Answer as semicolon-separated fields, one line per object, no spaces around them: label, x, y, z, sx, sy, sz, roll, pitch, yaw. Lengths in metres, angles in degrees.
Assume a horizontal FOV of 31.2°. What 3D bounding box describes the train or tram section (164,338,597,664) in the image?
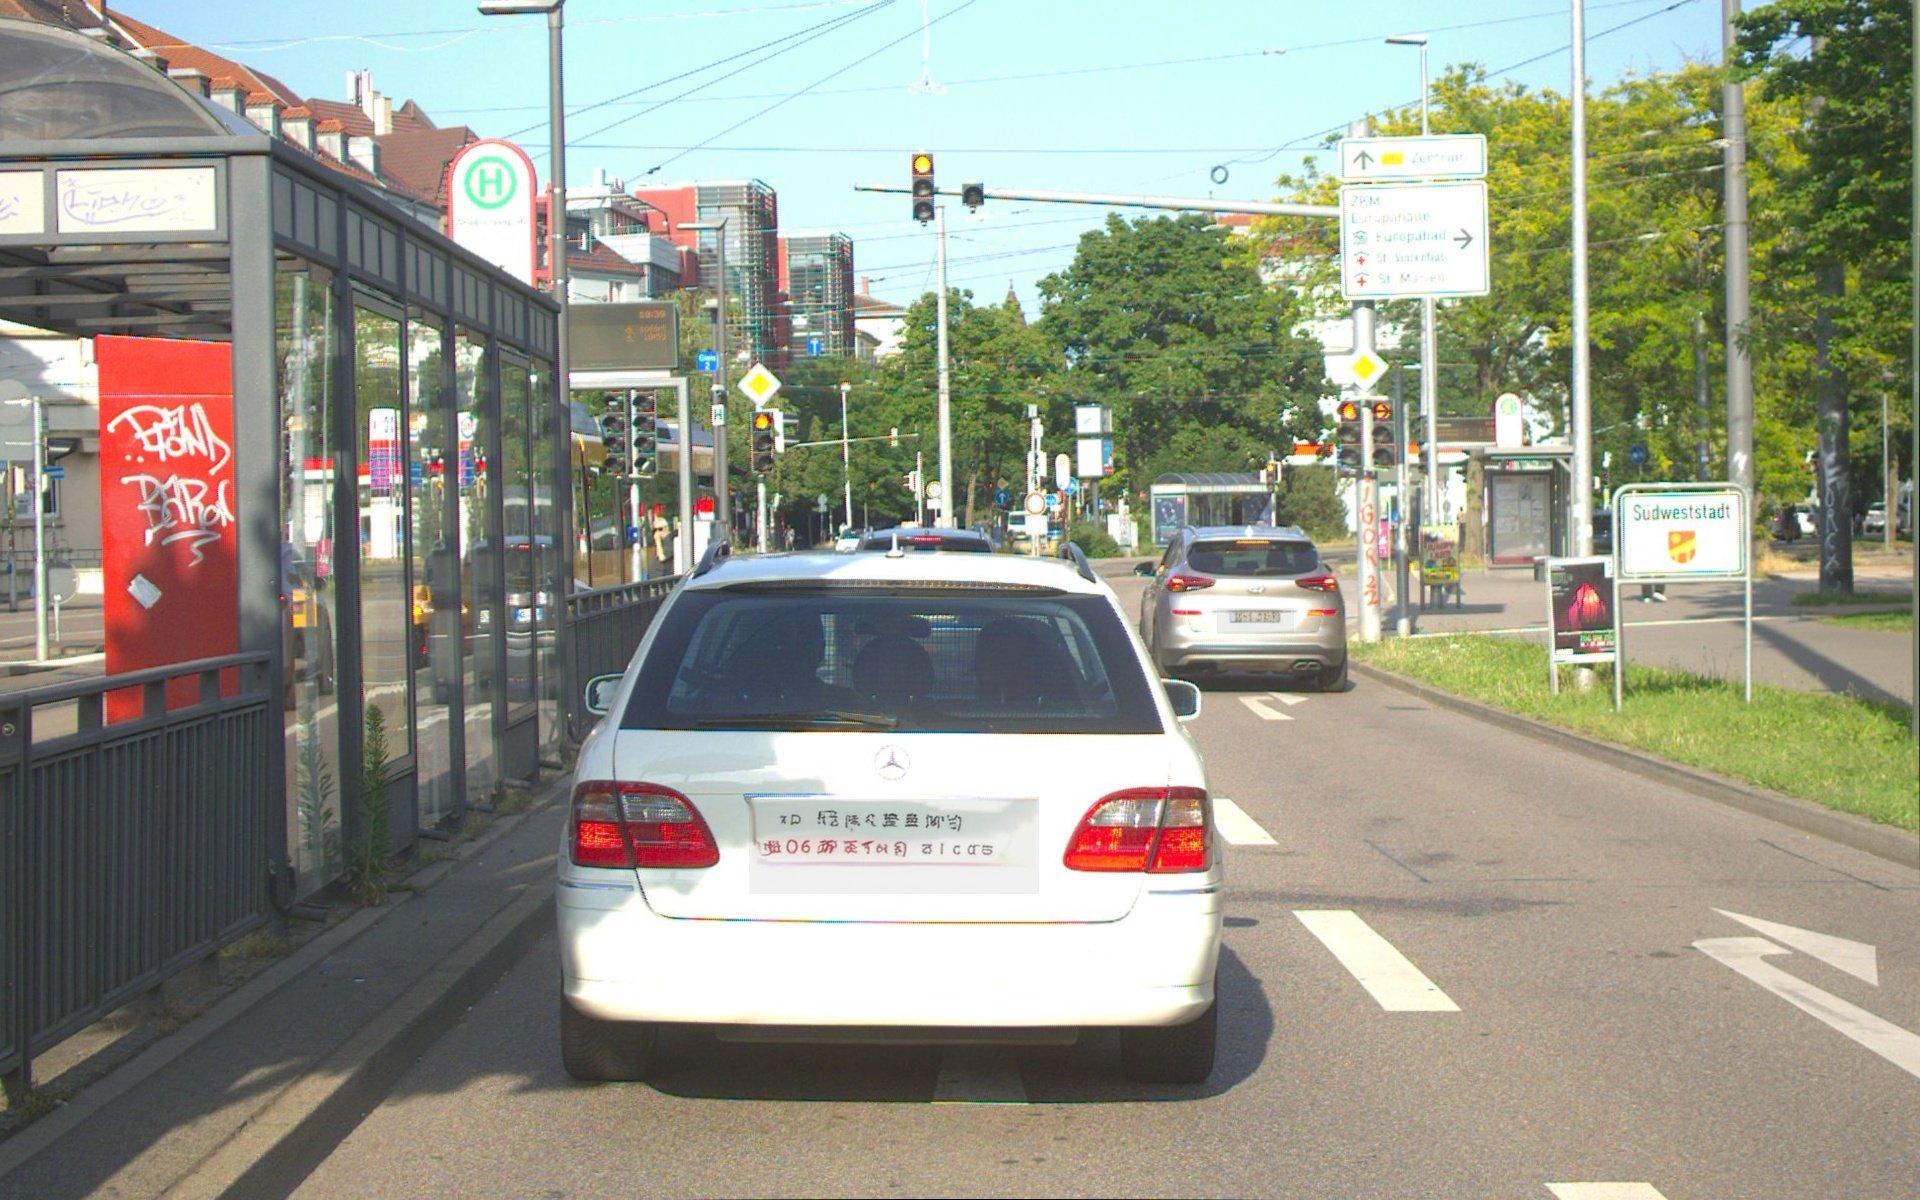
train or tram section;-6.898;-1.270;43.344;2.849;3.467;13.200;0;2;2

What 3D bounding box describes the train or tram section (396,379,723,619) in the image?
train or tram section;-6.250;-1.652;56.338;2.850;3.467;13.199;0;2;4

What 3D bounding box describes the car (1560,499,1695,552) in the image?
car;22.098;-2.470;113.793;3.992;1.645;1.997;-1;1;26

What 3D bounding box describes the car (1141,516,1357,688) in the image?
car;2.862;-0.031;34.498;2.033;1.600;4.000;0;2;4

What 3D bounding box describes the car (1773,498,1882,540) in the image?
car;35.650;-3.337;141.223;3.986;1.645;2.000;-2;1;-26

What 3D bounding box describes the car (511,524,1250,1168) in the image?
car;-0.261;0.550;10.319;1.758;1.498;4.001;-1;2;-2

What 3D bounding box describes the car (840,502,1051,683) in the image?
car;-0.086;-0.126;34.074;1.787;1.684;4.000;0;2;4

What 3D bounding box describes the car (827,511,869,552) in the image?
car;-5.677;-3.506;174.950;1.993;2.007;4.000;-1;1;-1

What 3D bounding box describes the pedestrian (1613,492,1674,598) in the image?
pedestrian;10.661;-0.865;53.624;0.887;1.646;0.746;0;2;8

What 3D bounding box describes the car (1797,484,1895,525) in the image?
car;37.823;-4.084;146.831;3.989;1.645;1.999;-1;1;14
